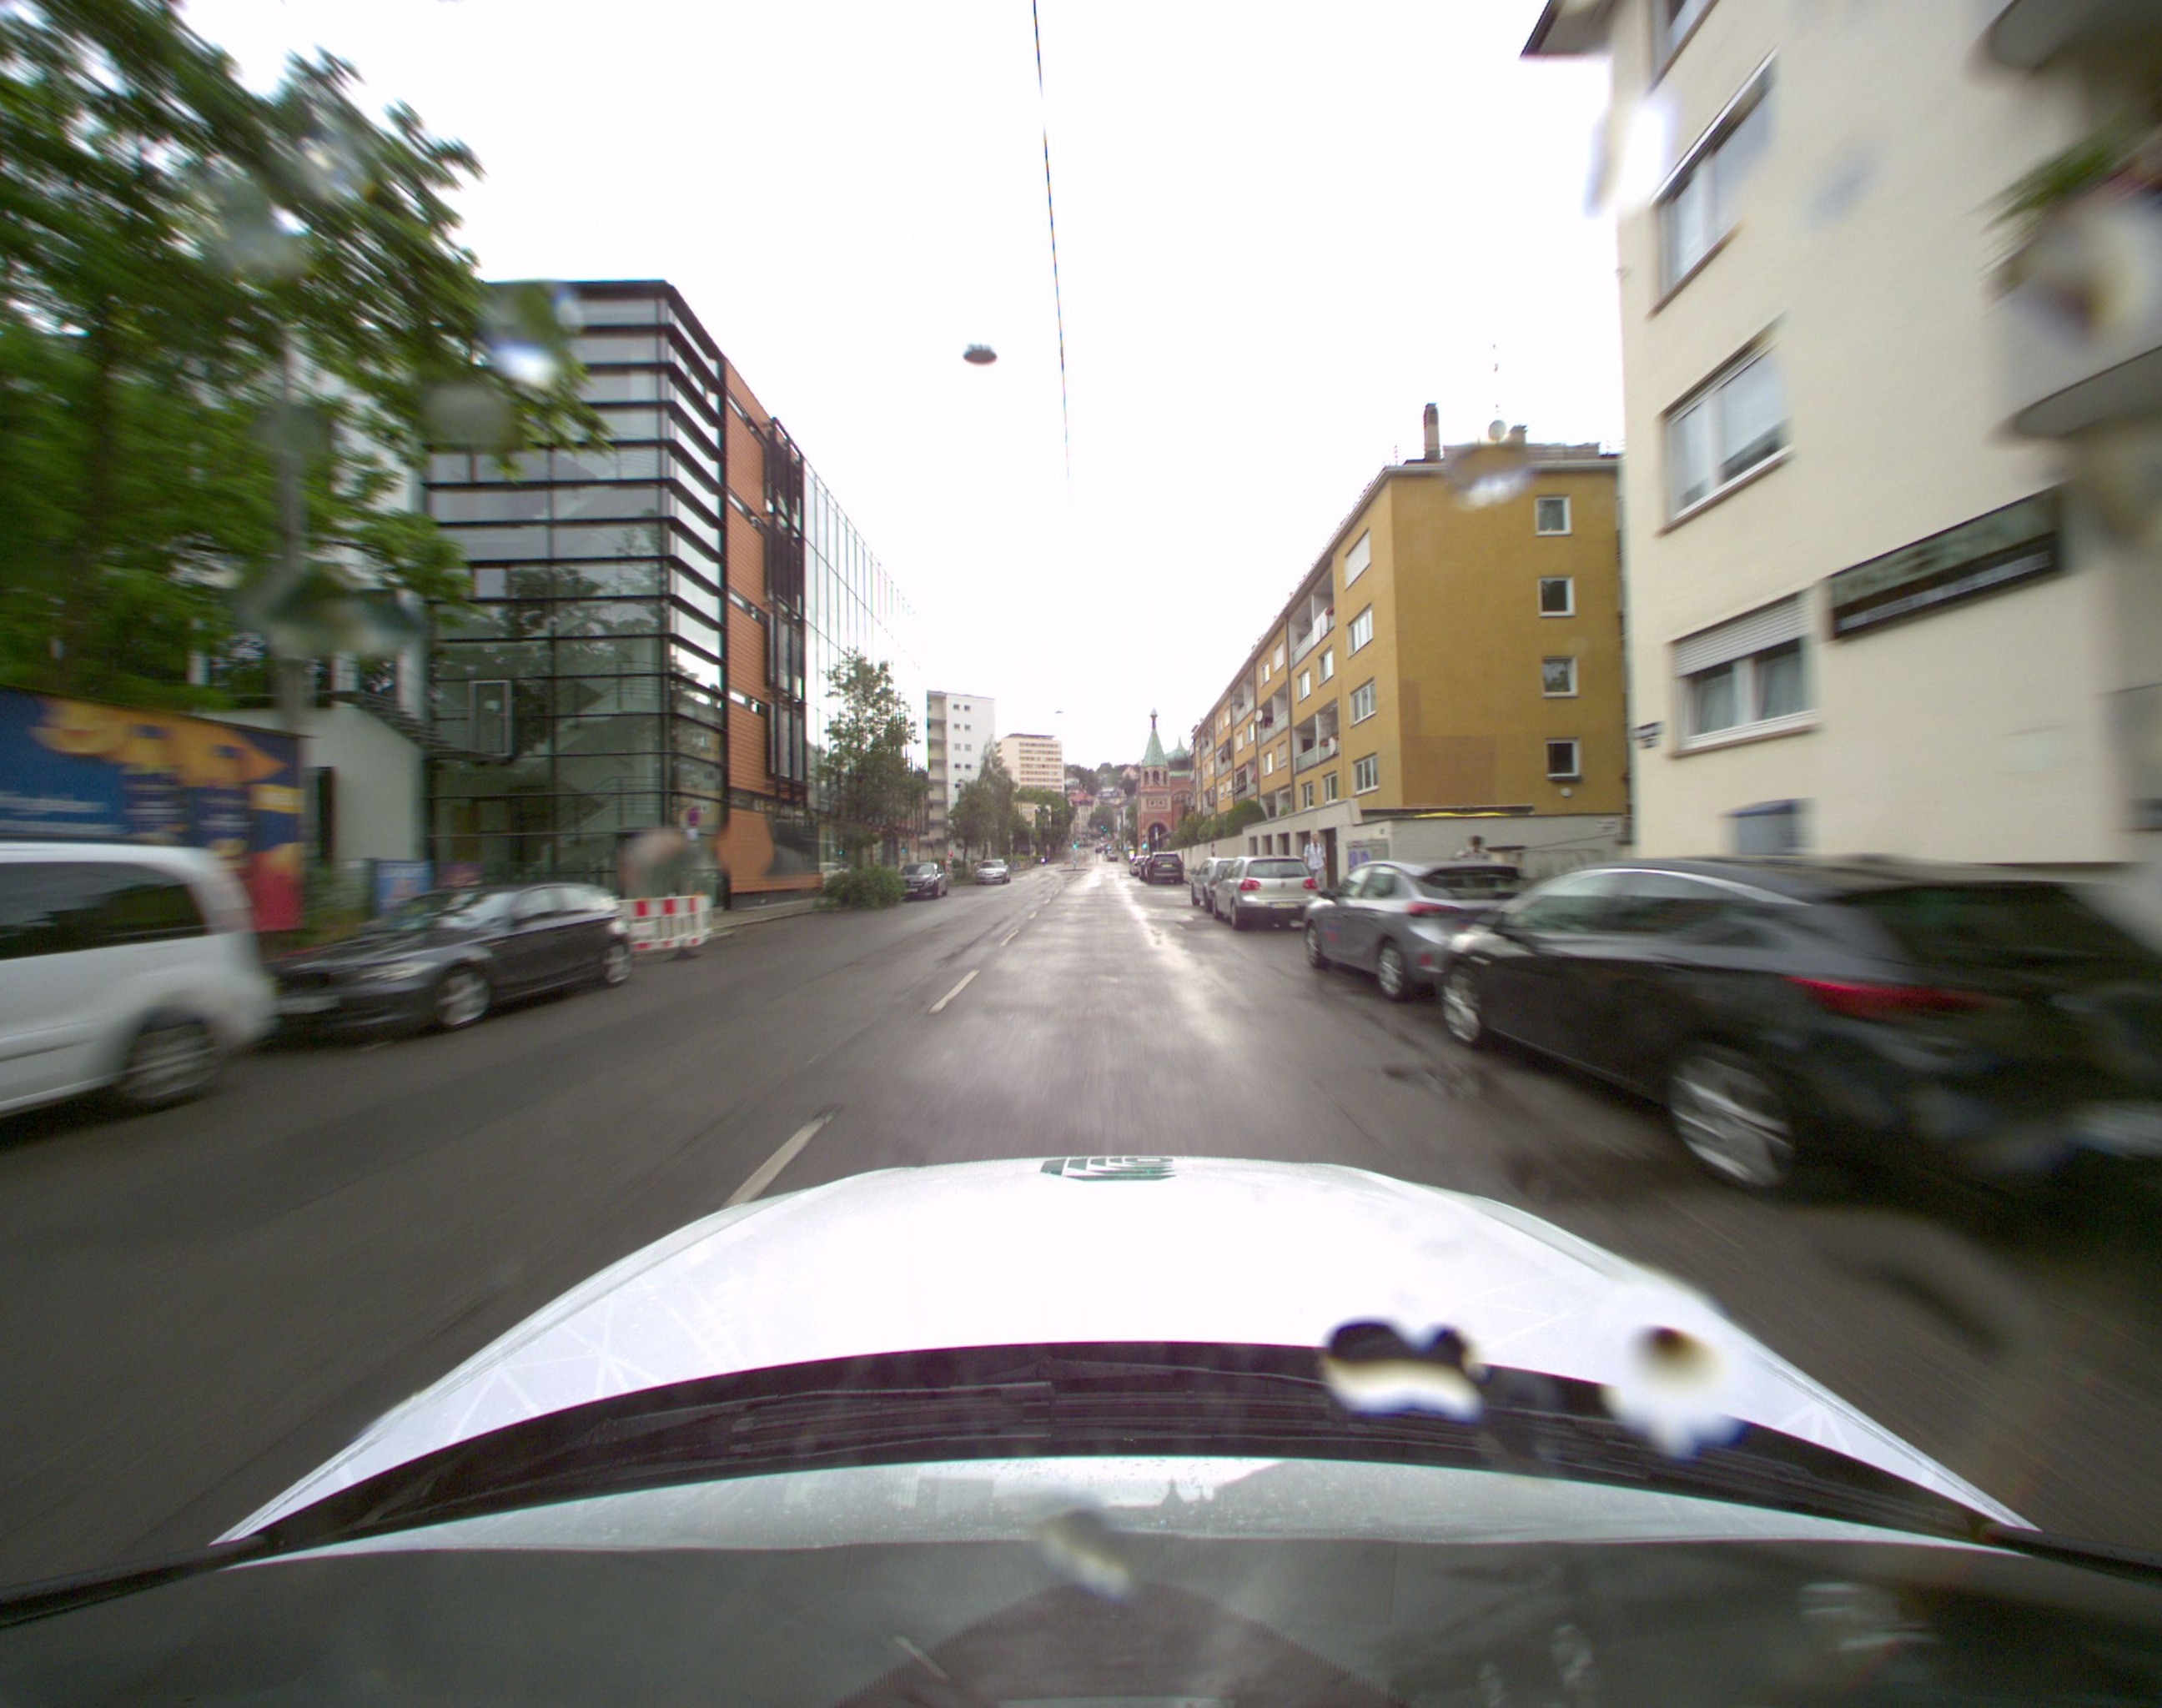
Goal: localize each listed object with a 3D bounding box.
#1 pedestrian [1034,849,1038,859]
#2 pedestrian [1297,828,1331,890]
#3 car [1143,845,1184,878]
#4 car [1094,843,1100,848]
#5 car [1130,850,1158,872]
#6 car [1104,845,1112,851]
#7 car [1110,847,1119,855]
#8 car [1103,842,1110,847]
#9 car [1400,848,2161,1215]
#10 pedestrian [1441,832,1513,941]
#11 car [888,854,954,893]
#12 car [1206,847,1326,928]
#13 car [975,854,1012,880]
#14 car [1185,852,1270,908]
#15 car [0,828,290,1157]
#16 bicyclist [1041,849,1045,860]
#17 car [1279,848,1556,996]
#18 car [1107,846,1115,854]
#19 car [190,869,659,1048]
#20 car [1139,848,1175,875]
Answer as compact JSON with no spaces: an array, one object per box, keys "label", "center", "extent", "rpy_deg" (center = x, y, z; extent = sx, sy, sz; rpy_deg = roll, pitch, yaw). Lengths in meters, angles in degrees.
[{"label":"pedestrian","center":[-8.749,-0.045,158.351],"extent":[0.886,1.893,0.921],"rpy_deg":[-1,0,-5]},{"label":"pedestrian","center":[6.767,0.137,23.600],"extent":[0.759,1.732,0.748],"rpy_deg":[-3,2,24]},{"label":"car","center":[4.307,0.360,43.114],"extent":[1.811,1.652,4.076],"rpy_deg":[0,0,1]},{"label":"car","center":[4.700,-2.571,239.094],"extent":[1.901,1.510,4.001],"rpy_deg":[0,0,1]},{"label":"car","center":[4.626,0.477,60.535],"extent":[1.811,1.522,4.076],"rpy_deg":[0,0,1]},{"label":"car","center":[7.048,-1.571,214.418],"extent":[1.886,1.510,4.001],"rpy_deg":[0,0,1]},{"label":"car","center":[7.340,-0.681,177.916],"extent":[1.724,1.653,4.005],"rpy_deg":[-1,1,4]},{"label":"car","center":[7.337,-2.604,230.549],"extent":[1.901,1.510,4.001],"rpy_deg":[0,0,1]},{"label":"car","center":[3.669,0.701,5.293],"extent":[1.657,1.421,4.043],"rpy_deg":[-1,1,1]},{"label":"pedestrian","center":[6.156,0.487,12.702],"extent":[0.661,1.603,0.745],"rpy_deg":[-5,0,5]},{"label":"car","center":[-6.459,0.747,33.348],"extent":[1.798,1.450,4.655],"rpy_deg":[-2,0,-1]},{"label":"car","center":[3.835,0.638,17.542],"extent":[1.658,1.502,3.920],"rpy_deg":[-1,0,0]},{"label":"car","center":[-5.183,0.757,48.740],"extent":[1.704,1.450,4.294],"rpy_deg":[-2,0,0]},{"label":"car","center":[4.038,0.674,23.039],"extent":[1.658,1.399,3.920],"rpy_deg":[-1,0,0]},{"label":"car","center":[-6.790,0.789,3.878],"extent":[1.718,1.800,4.344],"rpy_deg":[-2,0,0]},{"label":"bicyclist","center":[-6.060,0.107,129.285],"extent":[0.675,1.661,0.649],"rpy_deg":[-1,0,-2]},{"label":"car","center":[3.824,0.696,10.049],"extent":[1.659,1.421,3.918],"rpy_deg":[-1,-1,-2]},{"label":"car","center":[7.018,-0.963,189.335],"extent":[1.843,1.766,4.003],"rpy_deg":[0,0,2]},{"label":"car","center":[-6.696,0.921,9.089],"extent":[1.719,1.375,4.341],"rpy_deg":[-2,0,-1]},{"label":"car","center":[4.455,0.410,48.052],"extent":[1.811,1.522,4.076],"rpy_deg":[0,0,1]}]
